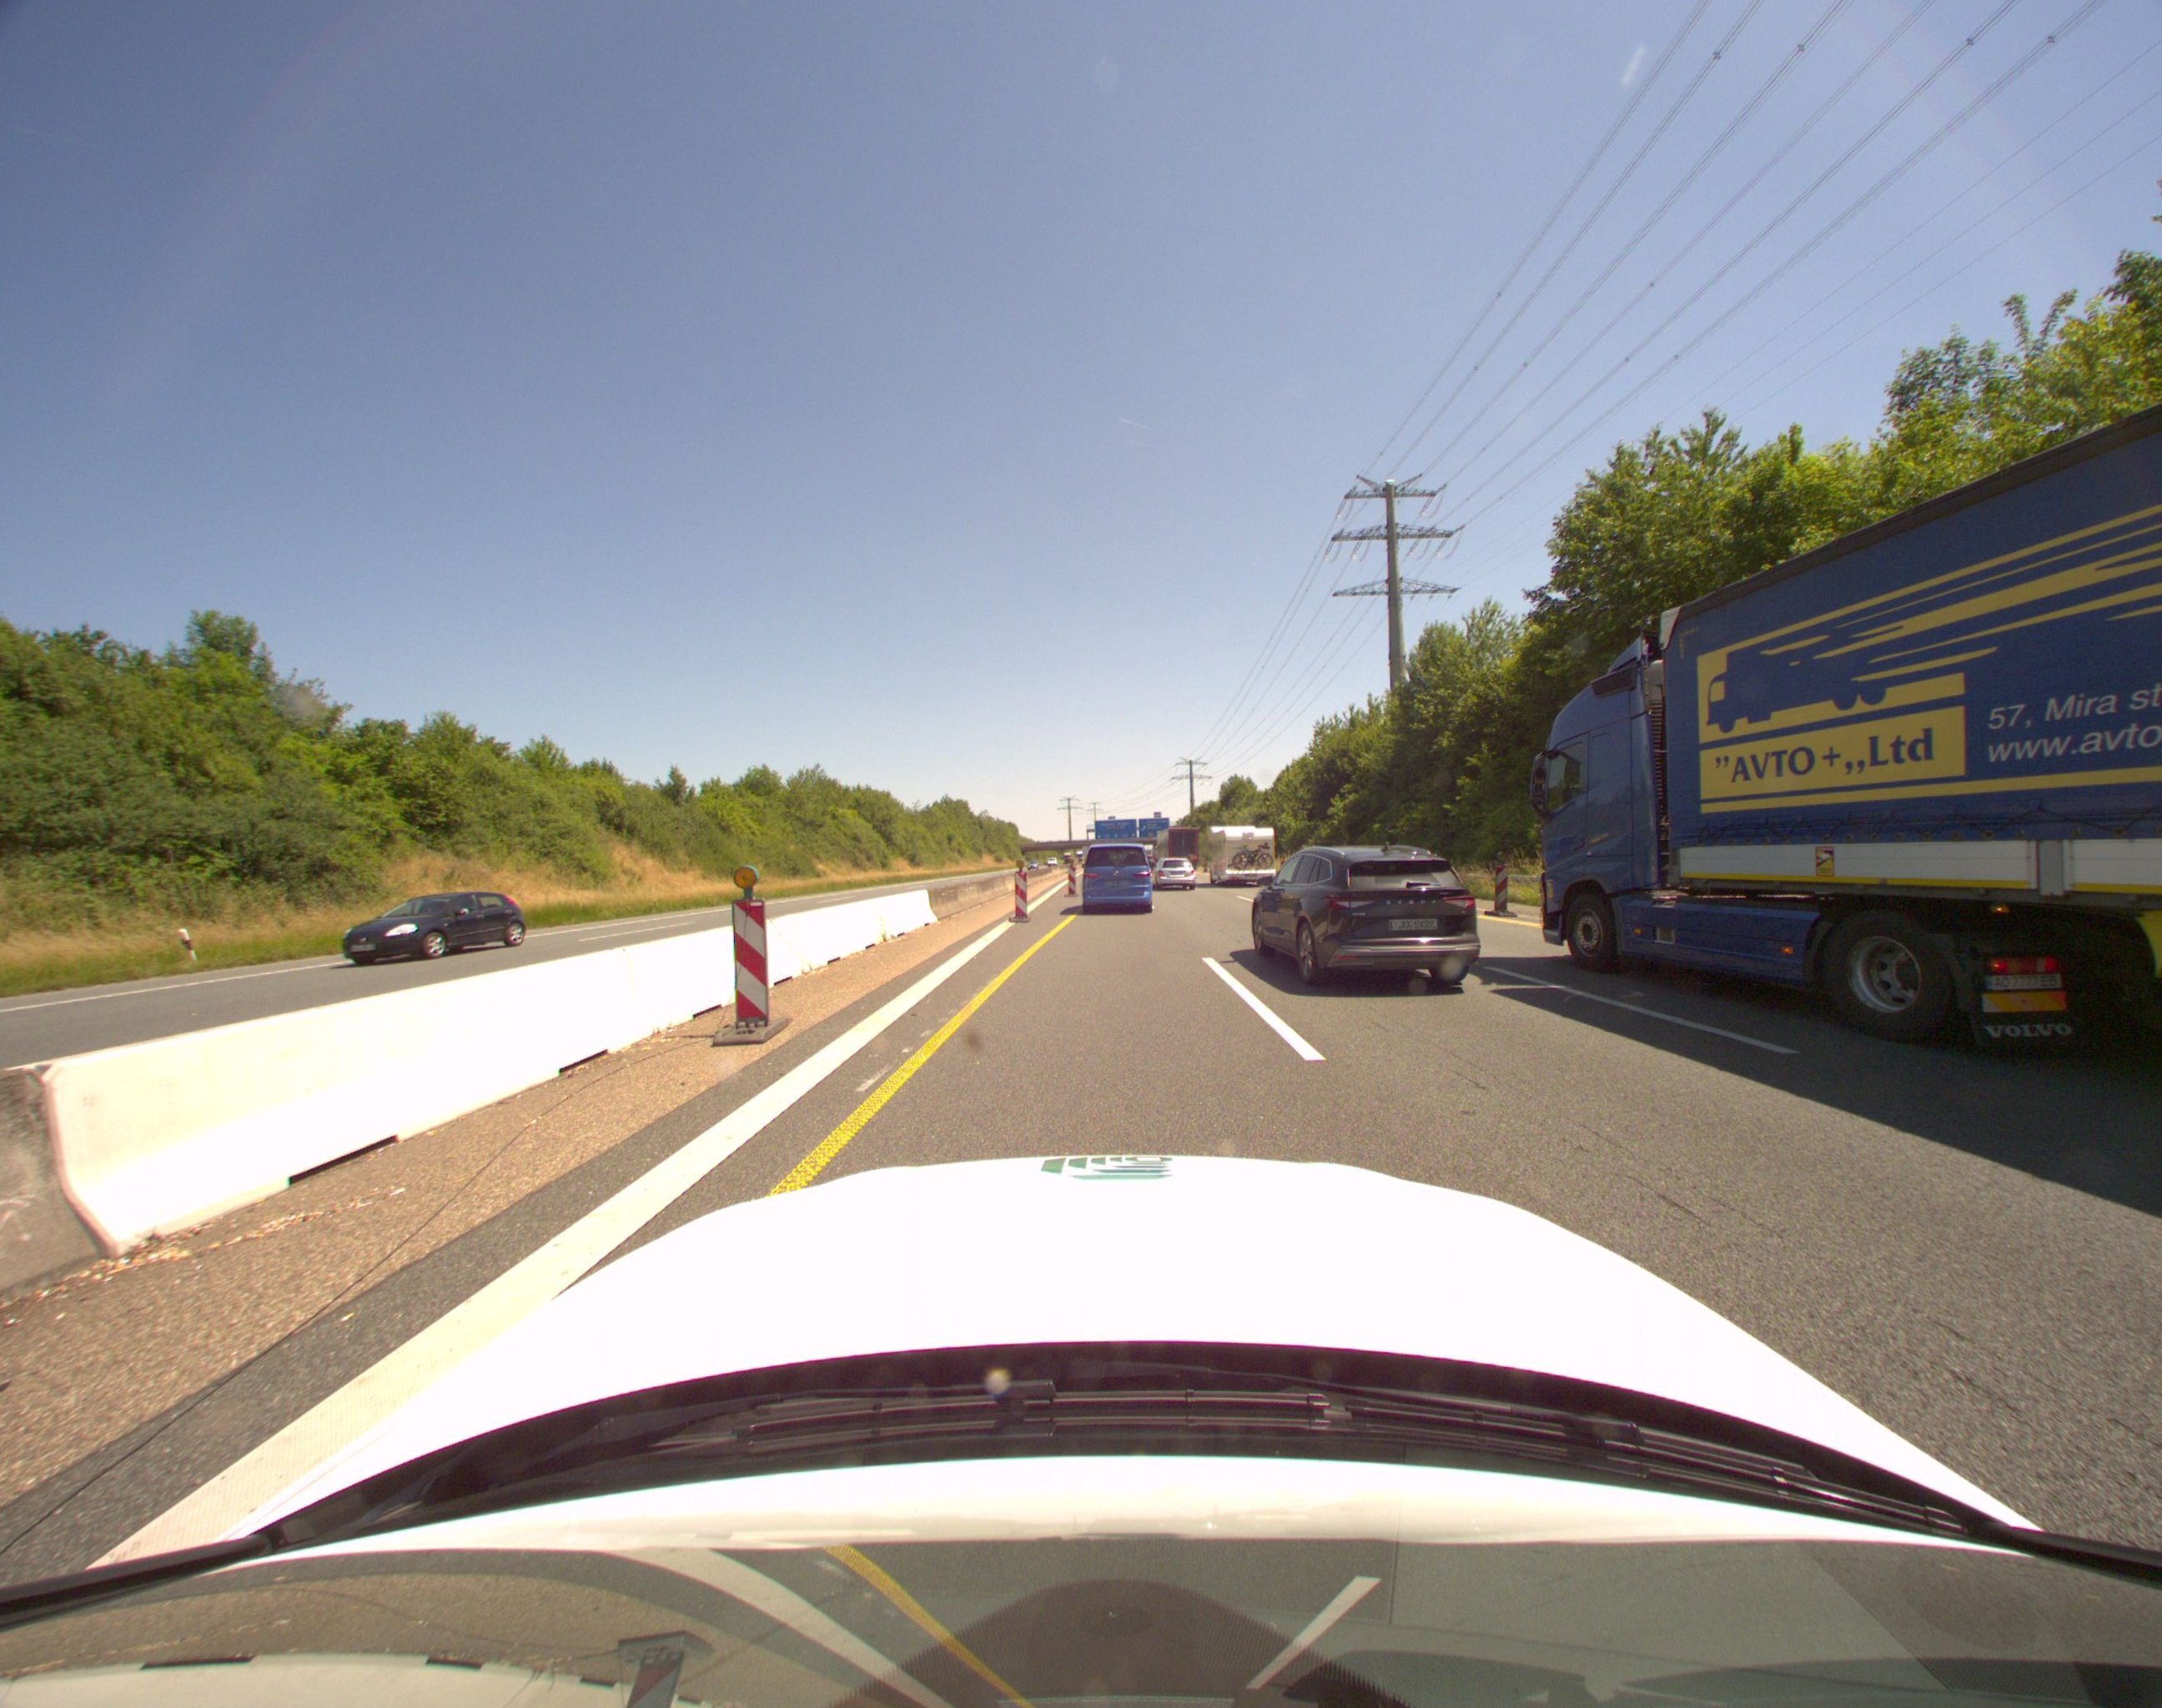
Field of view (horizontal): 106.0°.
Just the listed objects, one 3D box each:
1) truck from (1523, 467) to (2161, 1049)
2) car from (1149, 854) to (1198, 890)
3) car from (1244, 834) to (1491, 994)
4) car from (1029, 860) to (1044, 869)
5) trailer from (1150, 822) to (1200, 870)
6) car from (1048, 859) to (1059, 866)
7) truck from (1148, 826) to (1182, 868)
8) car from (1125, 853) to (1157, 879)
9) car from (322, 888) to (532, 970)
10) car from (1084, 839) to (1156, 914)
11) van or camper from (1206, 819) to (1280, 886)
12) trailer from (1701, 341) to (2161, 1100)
[{"bbox_3d":[7.556,-0.675,8.612,2.775,4.144,5.638,0,0,1],"label":"truck"},{"bbox_3d":[4.143,0.784,37.217,1.765,1.517,4.359,0,0,0],"label":"car"},{"bbox_3d":[3.430,0.638,10.698,1.695,1.655,4.429,0,0,0],"label":"car"},{"bbox_3d":[-7.348,1.686,135.932,1.985,1.398,4.003,-3,0,3],"label":"car"},{"bbox_3d":[8.465,-0.658,74.905,2.775,4.047,13.103,0,0,-1],"label":"trailer"},{"bbox_3d":[-6.052,1.943,177.870,1.985,1.398,4.003,-3,0,3],"label":"car"},{"bbox_3d":[8.356,-0.689,81.904,2.725,4.047,5.790,0,0,-1],"label":"truck"},{"bbox_3d":[4.028,0.779,55.142,1.868,1.671,4.359,0,0,0],"label":"car"},{"bbox_3d":[-14.997,1.649,18.978,1.703,1.464,3.849,-3,0,0],"label":"car"},{"bbox_3d":[1.013,0.595,23.246,1.868,1.912,4.359,0,0,0],"label":"car"},{"bbox_3d":[7.922,-0.042,40.693,2.360,3.043,7.634,0,0,1],"label":"van or camper"},{"bbox_3d":[7.394,-0.770,1.586,2.757,4.264,12.880,0,0,1],"label":"trailer"}]
